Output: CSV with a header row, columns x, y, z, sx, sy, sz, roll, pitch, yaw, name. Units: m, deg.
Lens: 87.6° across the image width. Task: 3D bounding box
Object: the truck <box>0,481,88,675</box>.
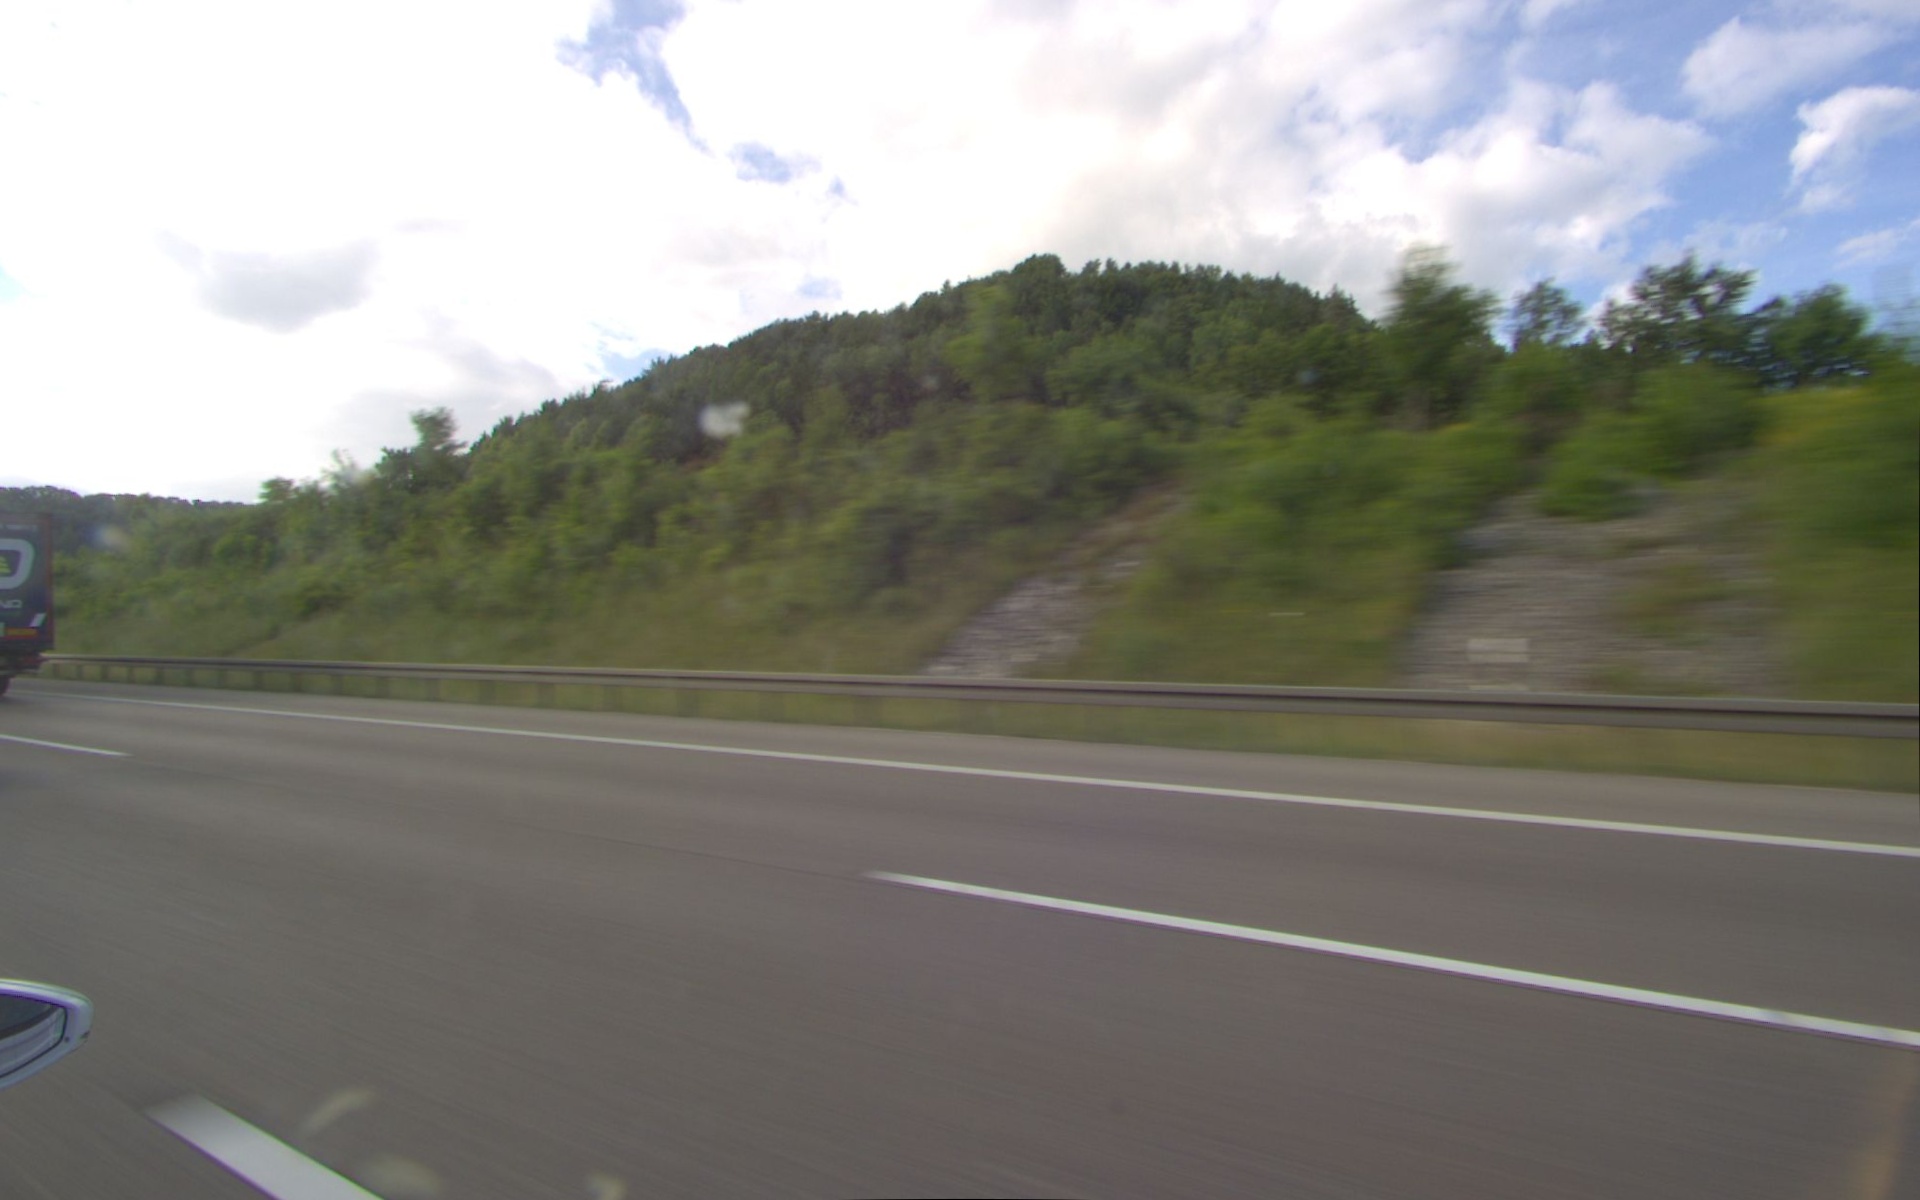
x,y,z,sx,sy,sz,roll,pitch,yaw,name
-27.403,-0.335,25.497,17.478,4.043,2.959,-1,-1,32,truck
